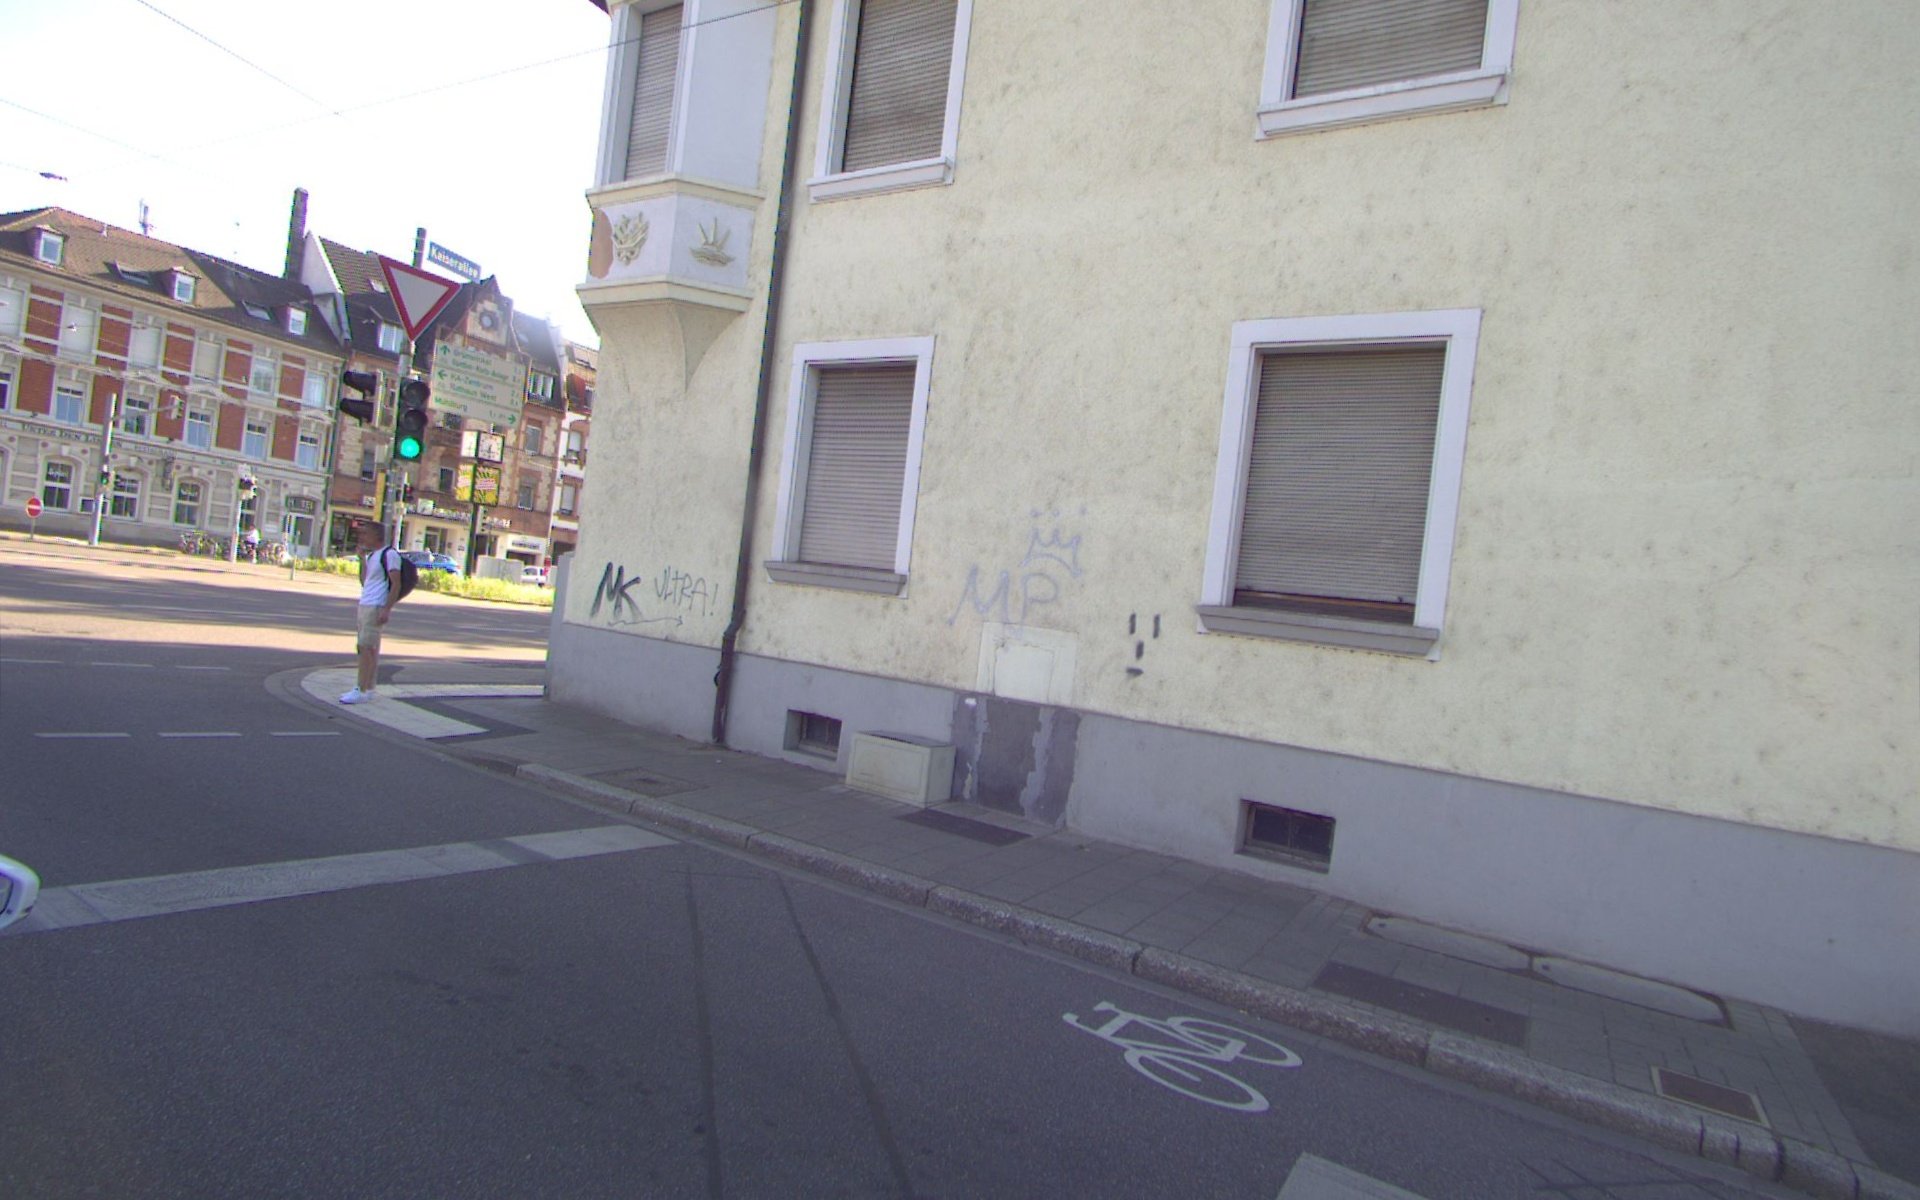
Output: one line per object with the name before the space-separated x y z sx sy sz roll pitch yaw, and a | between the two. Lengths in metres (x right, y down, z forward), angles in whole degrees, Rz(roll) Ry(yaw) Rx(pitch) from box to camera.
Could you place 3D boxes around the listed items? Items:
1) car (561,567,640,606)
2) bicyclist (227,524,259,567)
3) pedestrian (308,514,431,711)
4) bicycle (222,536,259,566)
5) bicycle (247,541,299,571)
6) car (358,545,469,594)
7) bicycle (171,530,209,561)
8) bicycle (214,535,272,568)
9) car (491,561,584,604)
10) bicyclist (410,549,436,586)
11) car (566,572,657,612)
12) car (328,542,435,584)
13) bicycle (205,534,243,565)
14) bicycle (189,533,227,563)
car | -23.229 -0.841 65.186 1.922 1.988 4.411 7 -1 31
bicyclist | -32.368 -2.443 45.430 0.592 1.785 0.873 7 0 34
pedestrian | -5.609 0.110 9.584 0.661 1.764 0.689 5 2 2
bicycle | -33.839 -2.289 47.315 1.935 1.205 0.678 7 0 33
bicycle | -32.872 -2.090 48.167 0.667 1.205 1.968 7 -1 20
car | -25.393 -1.379 46.832 1.922 1.688 3.993 7 -1 31
bicycle | -34.874 -2.478 45.573 1.935 1.205 0.678 7 0 33
bicycle | -32.386 -2.189 45.458 0.592 1.205 1.962 7 -1 34
car | -21.910 -0.901 52.335 1.922 1.688 3.993 7 -1 31
bicyclist | -28.264 -1.708 52.957 0.591 1.785 0.905 7 0 27
car | -19.492 -0.407 56.431 1.922 1.688 4.480 7 -1 31
car | -27.819 -1.739 48.469 1.815 1.429 3.993 7 -1 31
bicycle | -34.195 -2.355 46.743 1.935 1.205 0.678 7 0 33
bicycle | -34.534 -2.394 46.187 1.935 1.205 0.678 7 0 33
